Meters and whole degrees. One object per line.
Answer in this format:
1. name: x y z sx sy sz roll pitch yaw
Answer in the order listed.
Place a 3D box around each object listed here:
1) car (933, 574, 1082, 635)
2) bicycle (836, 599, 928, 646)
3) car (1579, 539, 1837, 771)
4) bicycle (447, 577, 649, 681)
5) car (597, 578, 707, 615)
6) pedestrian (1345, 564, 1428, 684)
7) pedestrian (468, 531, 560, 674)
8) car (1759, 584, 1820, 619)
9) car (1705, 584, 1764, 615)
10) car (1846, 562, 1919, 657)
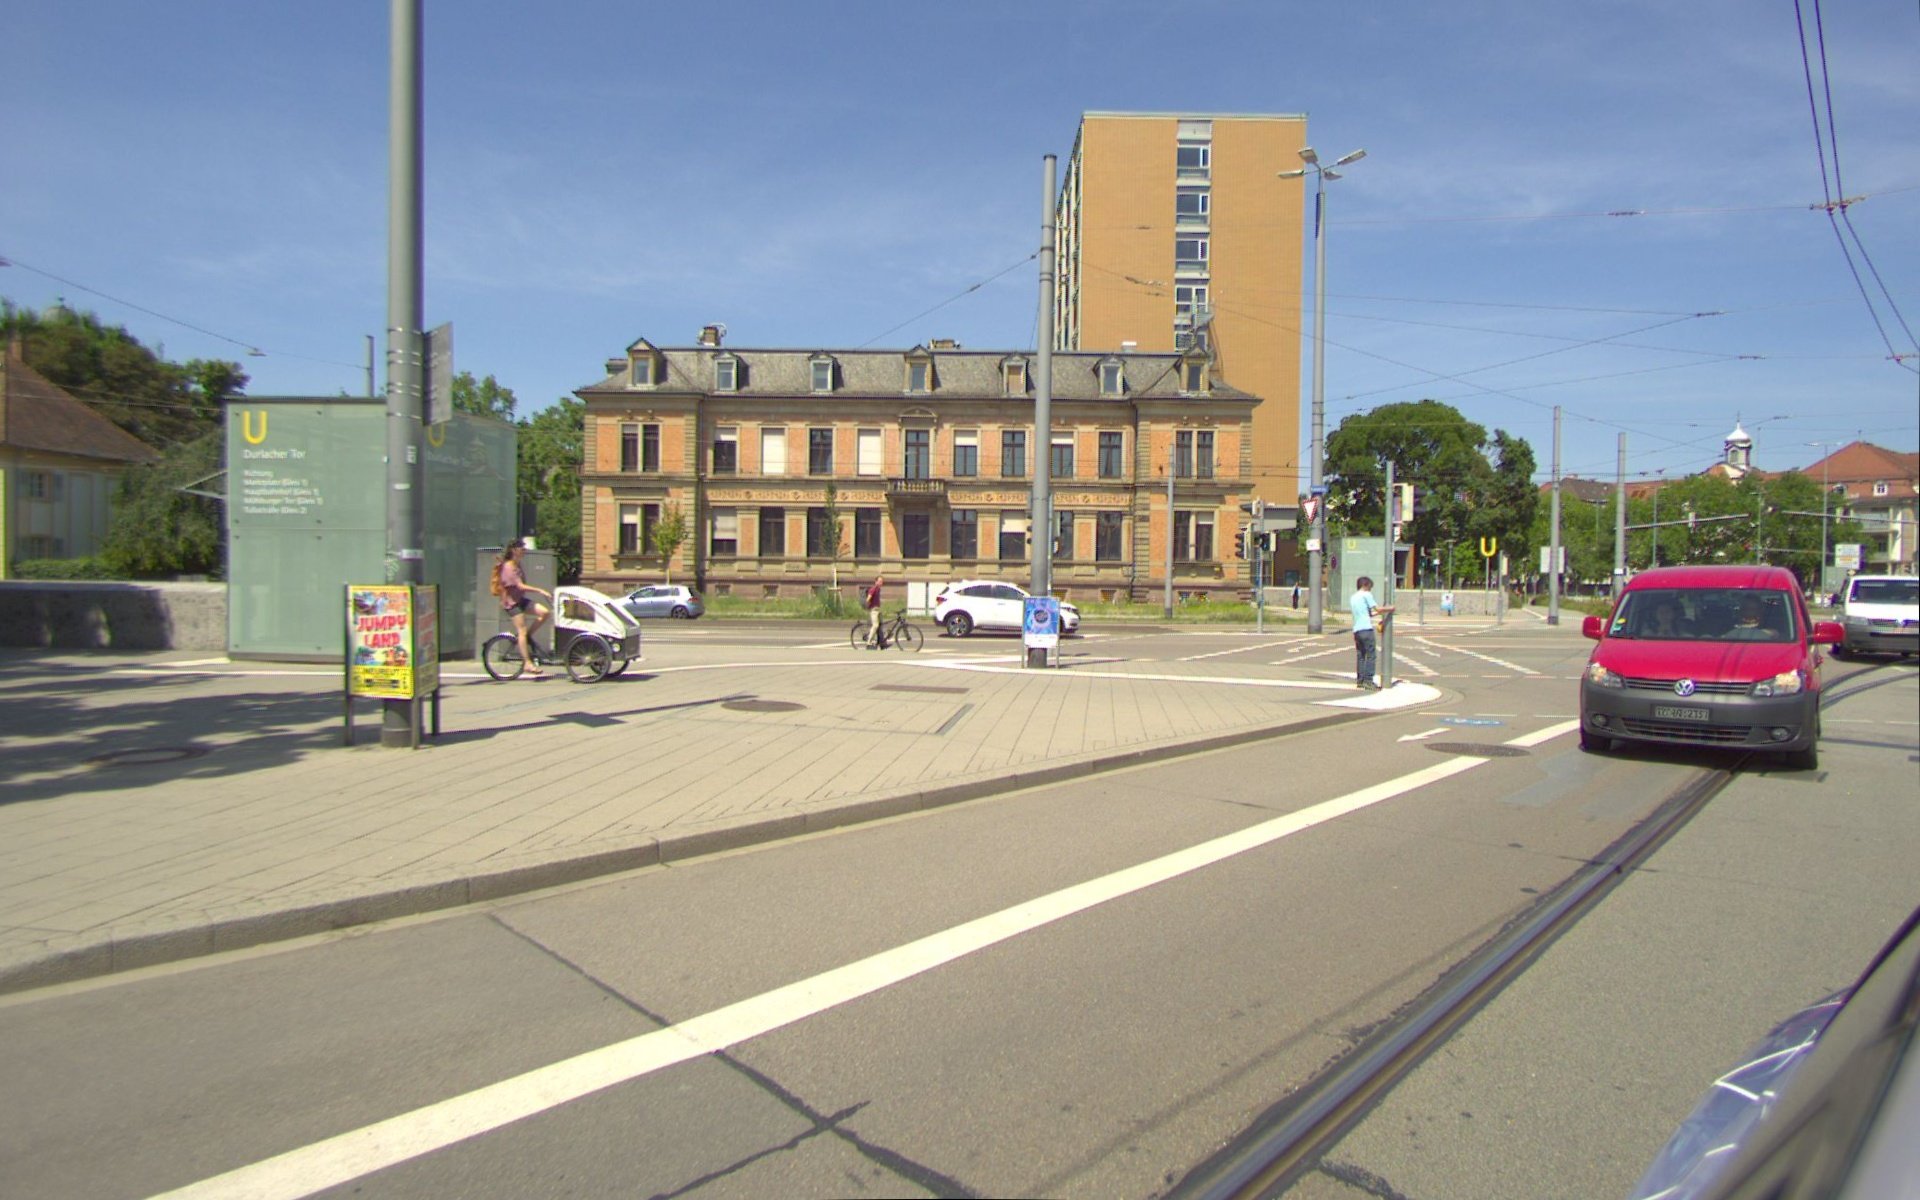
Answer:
1. car: 1.377 0.089 28.798 4.105 1.625 1.705 1 1 7
2. bicycle: -1.787 0.502 23.215 1.987 1.018 0.724 1 1 11
3. car: 7.601 0.395 10.134 1.749 1.835 4.037 1 1 41
4. bicycle: -5.296 0.349 13.128 2.179 1.266 1.099 1 1 2
5. car: -12.333 -0.154 40.635 3.925 1.438 1.617 0 1 1
6. pedestrian: 6.595 0.359 15.686 0.856 1.802 0.811 0 1 -12
7. pedestrian: -5.760 0.019 13.101 0.809 1.797 0.814 0 1 1
8. car: 34.601 0.032 42.293 1.561 1.371 3.419 1 1 33
9. car: 46.113 -0.076 60.357 1.980 1.746 3.964 1 1 26
10. car: 21.330 0.164 22.799 1.870 1.990 3.763 1 1 44
